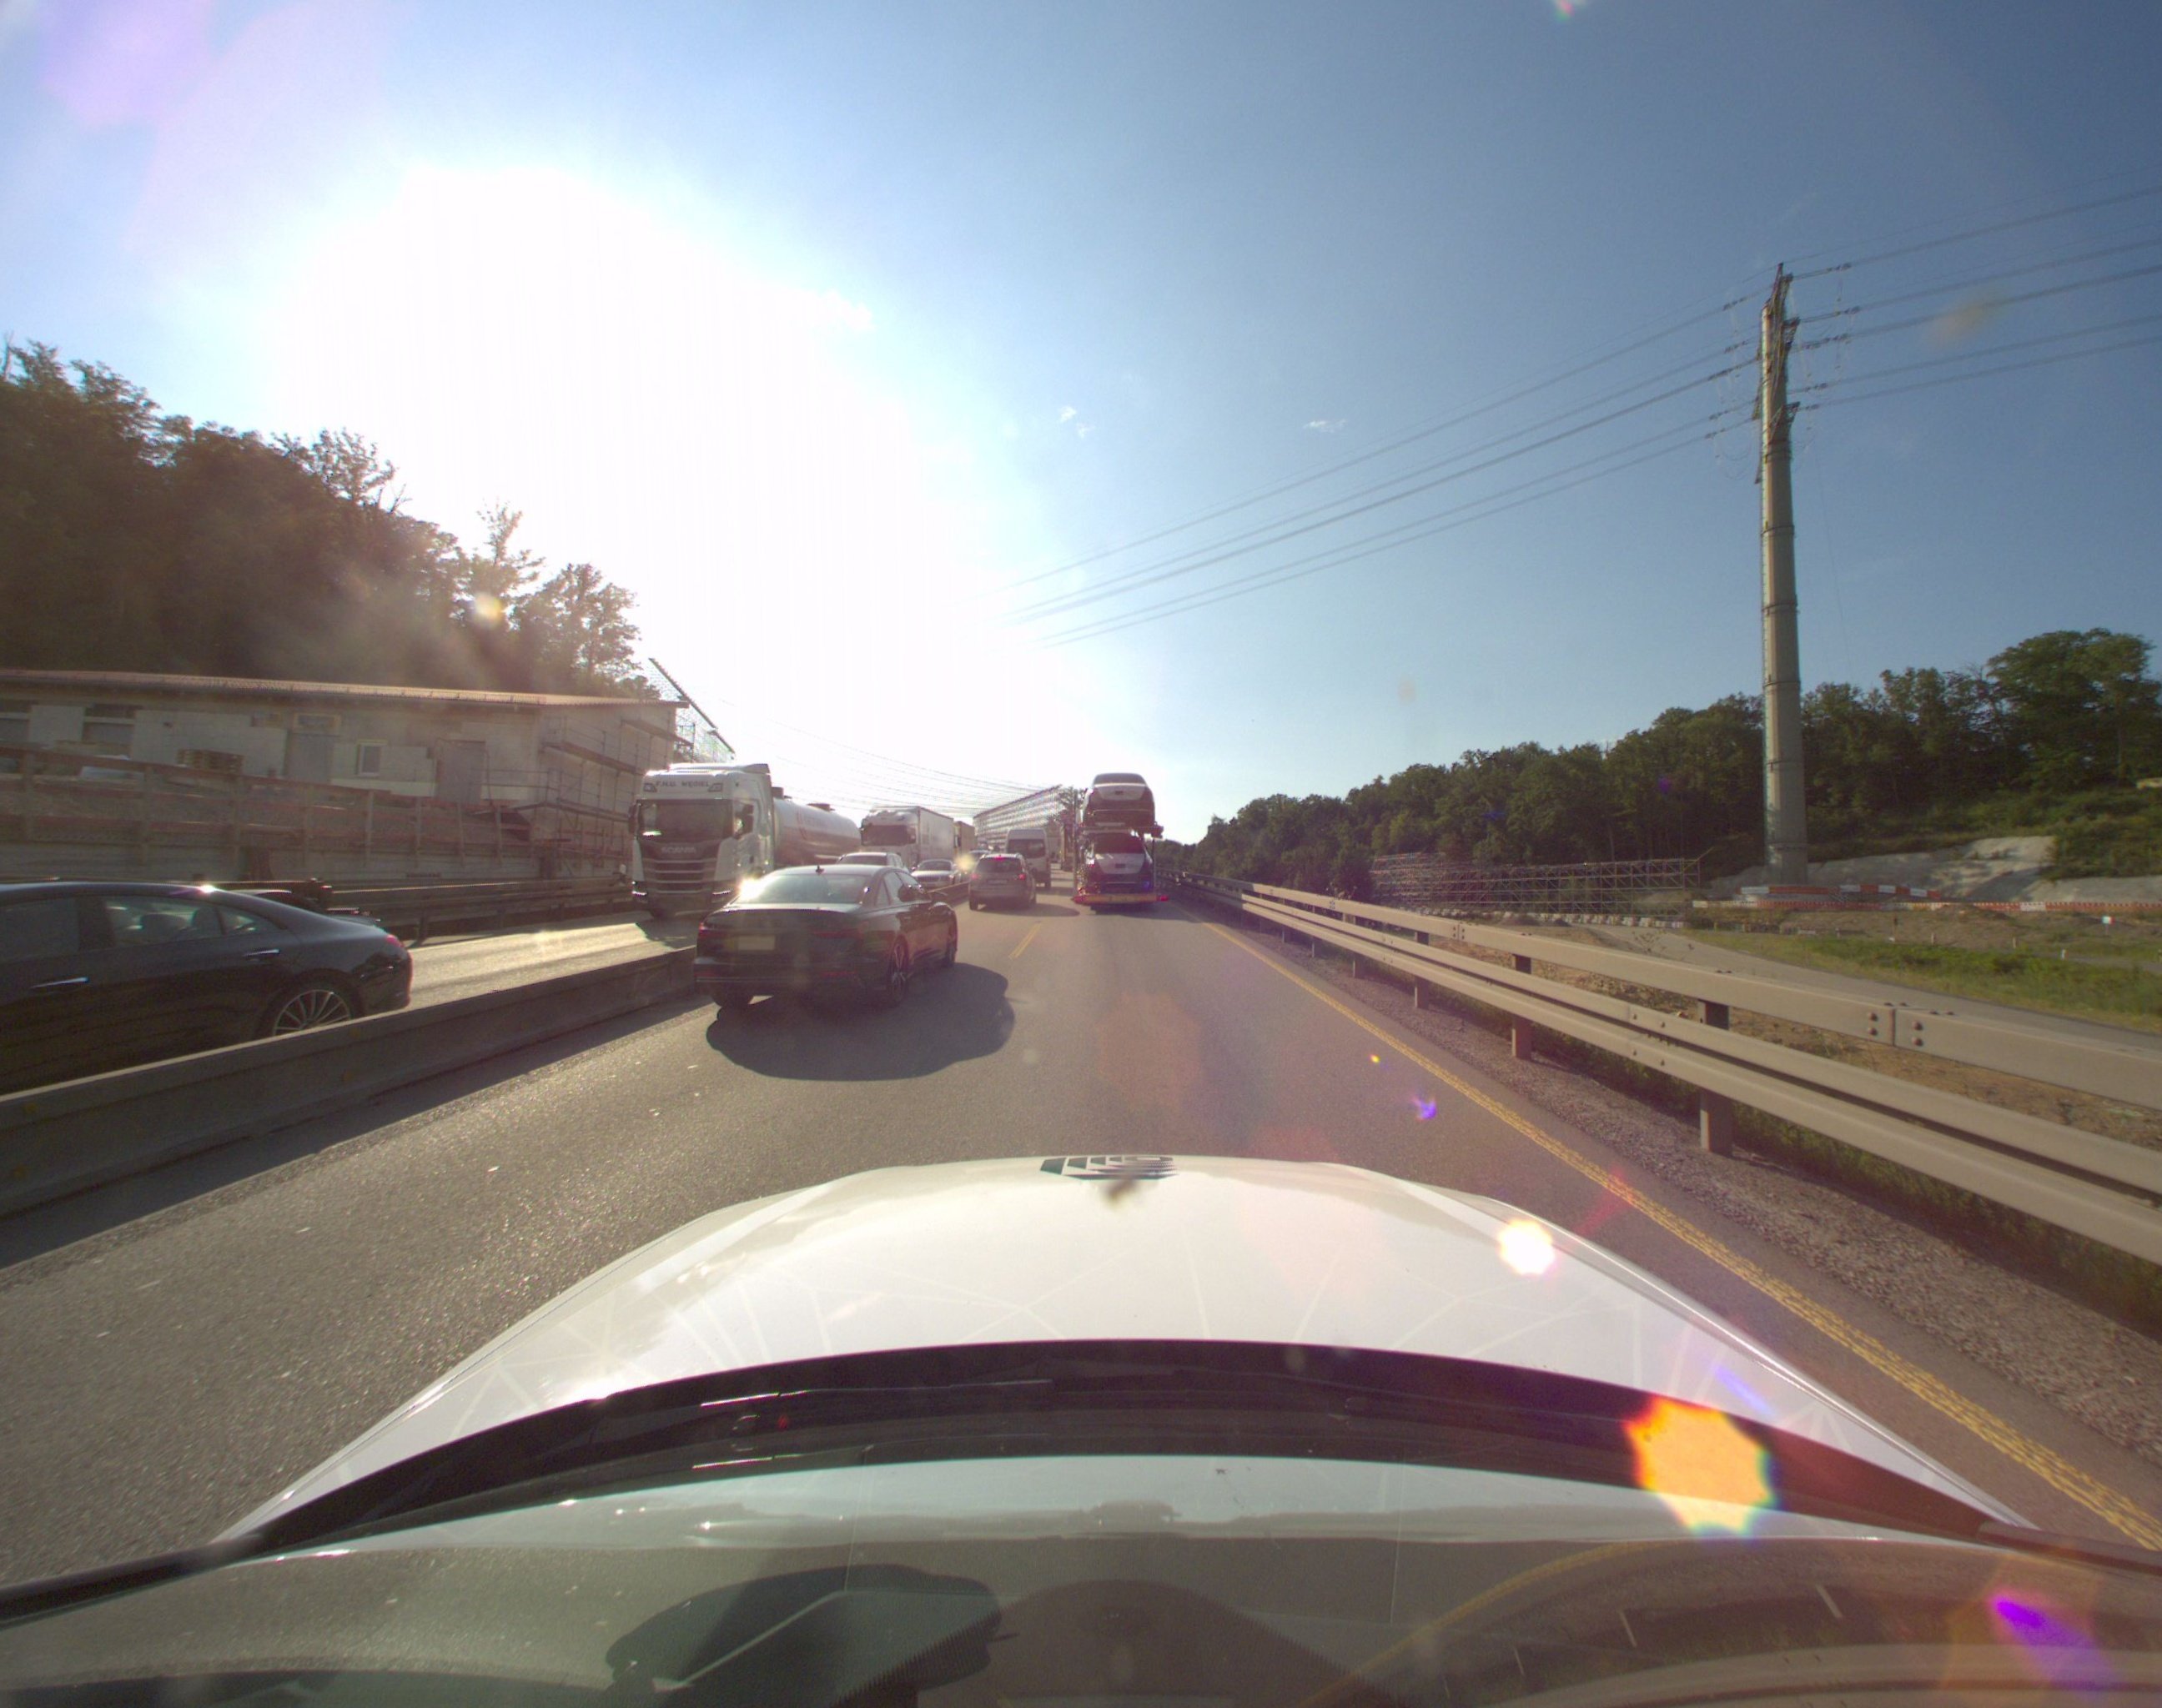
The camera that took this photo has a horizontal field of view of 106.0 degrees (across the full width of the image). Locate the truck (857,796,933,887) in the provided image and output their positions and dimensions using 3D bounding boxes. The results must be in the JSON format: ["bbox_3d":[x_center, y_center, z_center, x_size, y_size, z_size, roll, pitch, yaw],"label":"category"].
[{"bbox_3d":[-9.399,-0.513,41.795,2.436,4.272,6.318,-1,-1,-1],"label":"truck"}]

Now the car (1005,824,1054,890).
[{"bbox_3d":[-2.203,0.179,35.838,1.974,2.684,4.143,-1,-1,-2],"label":"car"}]

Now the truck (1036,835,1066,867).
[{"bbox_3d":[-4.763,-0.463,125.125,3.645,4.677,11.666,-1,0,-7],"label":"truck"}]

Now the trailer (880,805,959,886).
[{"bbox_3d":[-9.494,-0.338,49.247,2.446,4.266,12.139,-1,-1,-1],"label":"trailer"}]

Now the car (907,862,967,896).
[{"bbox_3d":[-5.824,0.997,33.343,1.706,1.253,4.050,-2,-1,0],"label":"car"}]

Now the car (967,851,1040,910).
[{"bbox_3d":[-2.229,0.762,24.369,1.695,1.587,4.147,-1,-1,1],"label":"car"}]

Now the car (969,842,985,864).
[{"bbox_3d":[-13.363,-0.135,105.135,1.665,2.765,4.953,-1,0,-4],"label":"car"}]

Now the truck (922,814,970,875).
[{"bbox_3d":[-10.065,-0.632,61.256,2.887,4.272,5.765,-1,-1,-3],"label":"truck"}]

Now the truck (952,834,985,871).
[{"bbox_3d":[-11.243,-0.053,81.911,2.352,3.531,7.690,-1,-1,-2],"label":"truck"}]

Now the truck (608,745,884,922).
[{"bbox_3d":[-9.174,-0.474,25.163,2.800,3.970,13.890,0,0,0],"label":"truck"}]

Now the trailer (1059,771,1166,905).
[{"bbox_3d":[0.741,-0.320,32.052,2.868,3.994,15.262,-1,-1,-3],"label":"trailer"}]

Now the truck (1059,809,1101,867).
[{"bbox_3d":[-0.263,-1.349,72.127,3.220,4.677,11.685,-1,0,-2],"label":"truck"}]

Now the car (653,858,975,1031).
[{"bbox_3d":[-2.723,0.845,9.842,1.933,1.480,5.225,-2,-1,2],"label":"car"}]

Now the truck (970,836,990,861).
[{"bbox_3d":[-16.764,-0.864,135.578,2.636,3.995,9.017,-1,0,-4],"label":"truck"}]

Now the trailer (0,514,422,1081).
[{"bbox_3d":[-9.496,-0.489,1.755,2.691,4.204,16.002,-1,-1,2],"label":"trailer"}]

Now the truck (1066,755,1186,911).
[{"bbox_3d":[1.108,-0.485,23.868,2.863,3.980,5.765,-1,-1,-3],"label":"truck"}]

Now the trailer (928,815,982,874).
[{"bbox_3d":[-10.391,-0.552,68.586,2.887,4.394,14.363,-1,-1,-3],"label":"trailer"}]

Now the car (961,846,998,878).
[{"bbox_3d":[-6.381,0.480,51.670,1.828,1.917,4.861,-1,0,-2],"label":"car"}]

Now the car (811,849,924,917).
[{"bbox_3d":[-5.865,0.772,22.932,1.839,1.648,4.560,-2,-1,1],"label":"car"}]

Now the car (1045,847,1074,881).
[{"bbox_3d":[-1.332,0.625,49.545,1.664,1.985,3.813,-1,-1,-3],"label":"car"}]

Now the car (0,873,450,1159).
[{"bbox_3d":[-6.204,0.831,4.346,1.733,1.402,4.904,-1,-1,2],"label":"car"}]

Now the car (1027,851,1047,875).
[{"bbox_3d":[-3.712,0.767,68.354,1.665,1.985,3.812,-1,-1,-4],"label":"car"}]
